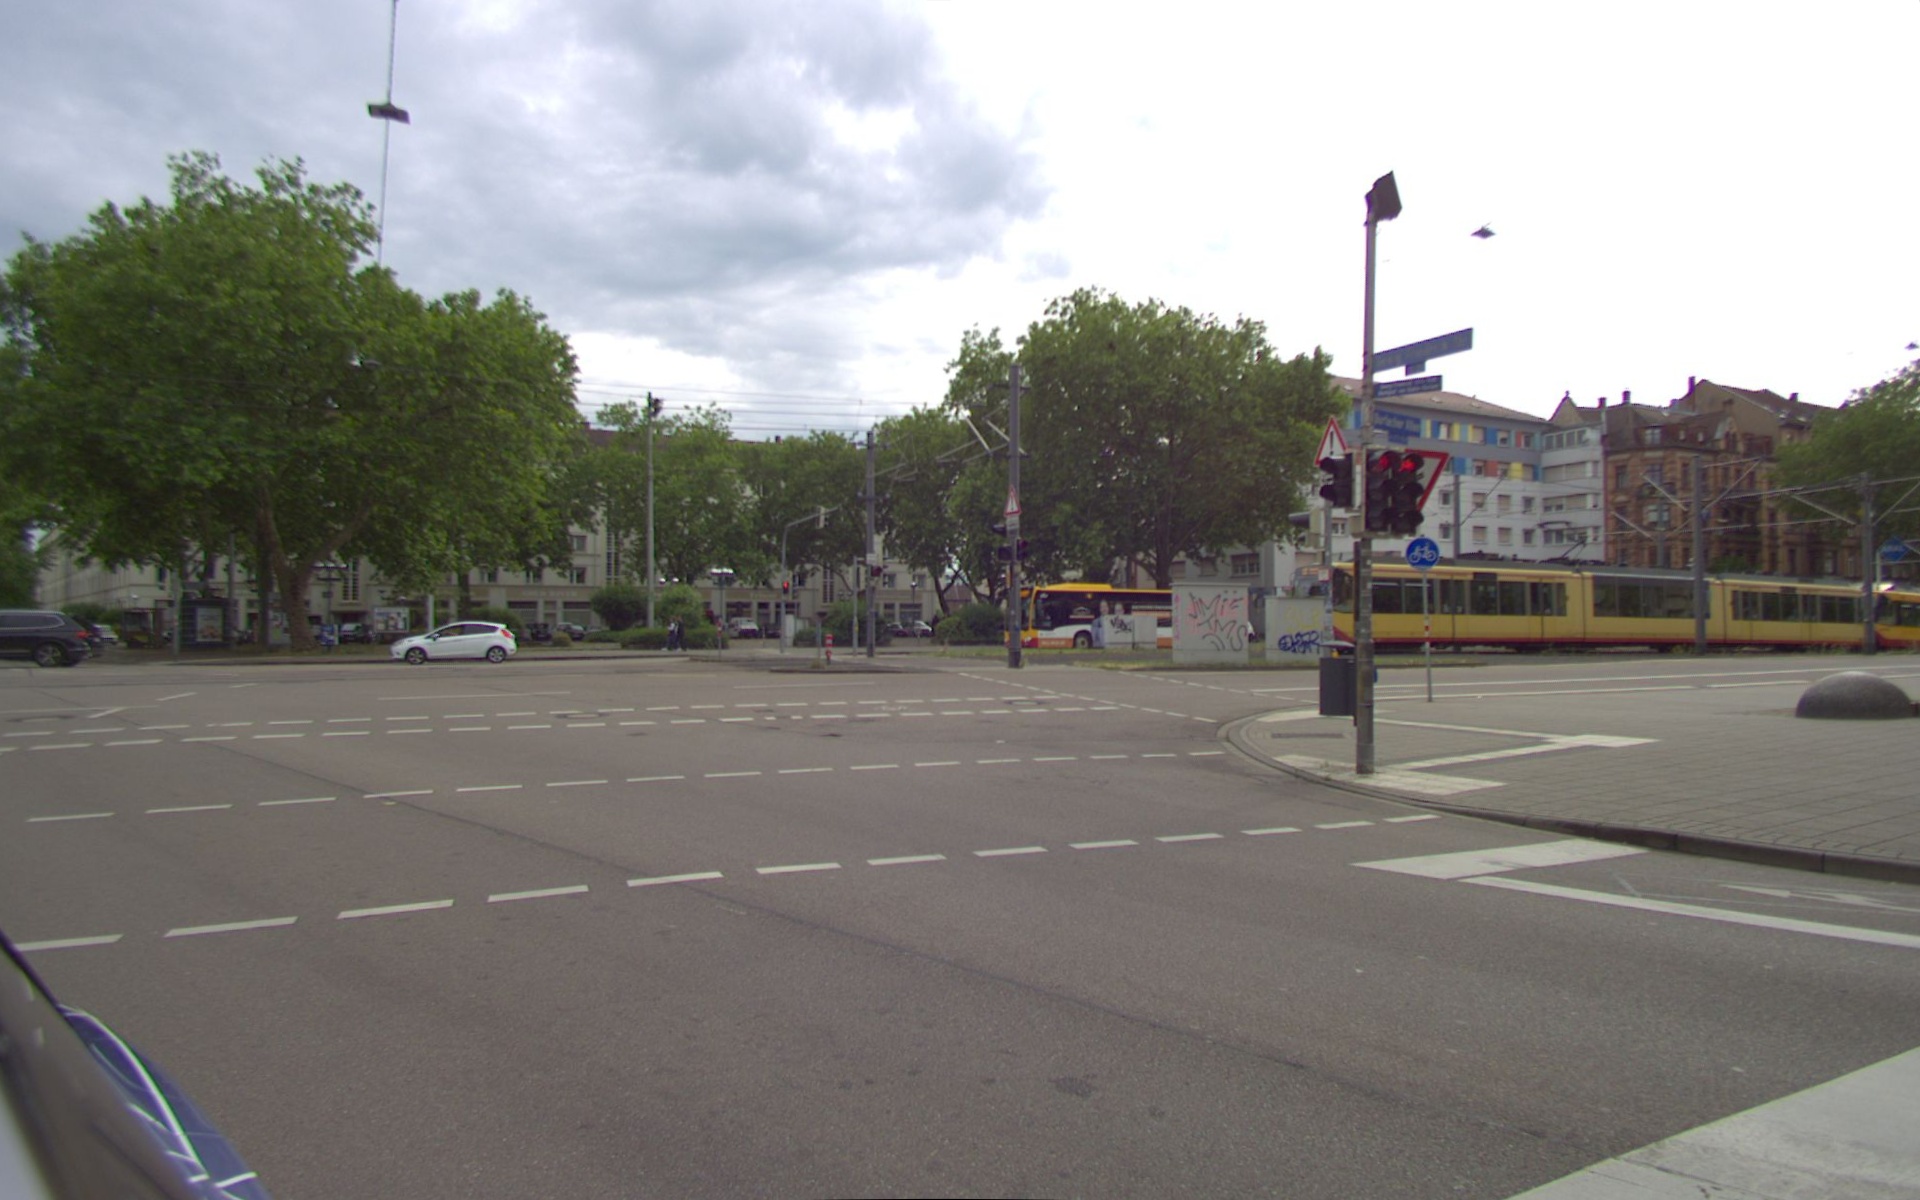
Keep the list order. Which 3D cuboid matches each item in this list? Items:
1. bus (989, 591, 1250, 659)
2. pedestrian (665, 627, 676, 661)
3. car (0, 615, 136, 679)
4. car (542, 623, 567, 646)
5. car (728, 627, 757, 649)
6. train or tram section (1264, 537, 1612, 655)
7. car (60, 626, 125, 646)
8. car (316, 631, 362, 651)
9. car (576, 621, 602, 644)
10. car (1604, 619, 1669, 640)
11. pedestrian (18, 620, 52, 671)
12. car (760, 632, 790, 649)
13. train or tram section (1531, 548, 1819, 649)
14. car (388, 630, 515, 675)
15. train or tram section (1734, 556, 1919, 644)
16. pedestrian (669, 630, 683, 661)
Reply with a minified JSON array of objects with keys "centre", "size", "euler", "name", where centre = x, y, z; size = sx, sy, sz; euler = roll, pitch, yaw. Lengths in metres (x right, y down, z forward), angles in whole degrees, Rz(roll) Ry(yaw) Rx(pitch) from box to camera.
[{"centre":[7.527,1.117,47.019],"size":[12.164,2.878,3.303],"euler":[0,0,-24],"name":"bus"},{"centre":[-12.802,1.919,44.734],"size":[0.367,1.490,0.363],"euler":[1,-2,-31],"name":"pedestrian"},{"centre":[-27.360,1.346,29.383],"size":[5.060,1.796,1.714],"euler":[0,0,-24],"name":"car"},{"centre":[-35.922,3.022,89.568],"size":[1.965,2.029,4.013],"euler":[1,-2,-23],"name":"car"},{"centre":[-20.687,3.622,96.093],"size":[1.965,2.029,4.013],"euler":[1,-2,-23],"name":"car"},{"centre":[19.169,-0.081,40.103],"size":[14.777,4.124,3.667],"euler":[0,0,-24],"name":"train or tram section"},{"centre":[-64.809,2.680,75.620],"size":[3.963,1.497,1.793],"euler":[-1,-1,15],"name":"car"},{"centre":[-44.684,2.915,72.781],"size":[1.969,1.400,4.839],"euler":[1,-2,-41],"name":"car"},{"centre":[-33.094,2.902,90.113],"size":[1.965,2.029,4.013],"euler":[1,-2,-23],"name":"car"},{"centre":[43.415,1.885,64.958],"size":[3.823,1.230,1.714],"euler":[0,0,-24],"name":"car"},{"centre":[-35.557,1.746,38.893],"size":[0.682,1.900,0.686],"euler":[0,0,12],"name":"pedestrian"},{"centre":[-17.944,3.889,97.967],"size":[1.965,1.586,4.013],"euler":[1,-2,-23],"name":"car"},{"centre":[32.719,-0.023,46.011],"size":[14.777,4.124,3.593],"euler":[0,0,-24],"name":"train or tram section"},{"centre":[-17.486,1.789,34.955],"size":[3.823,1.408,1.714],"euler":[0,0,-24],"name":"car"},{"centre":[48.409,0.057,53.112],"size":[19.601,4.124,3.640],"euler":[0,0,-25],"name":"train or tram section"},{"centre":[-12.362,1.974,44.045],"size":[0.462,1.336,0.458],"euler":[1,-2,-31],"name":"pedestrian"}]
